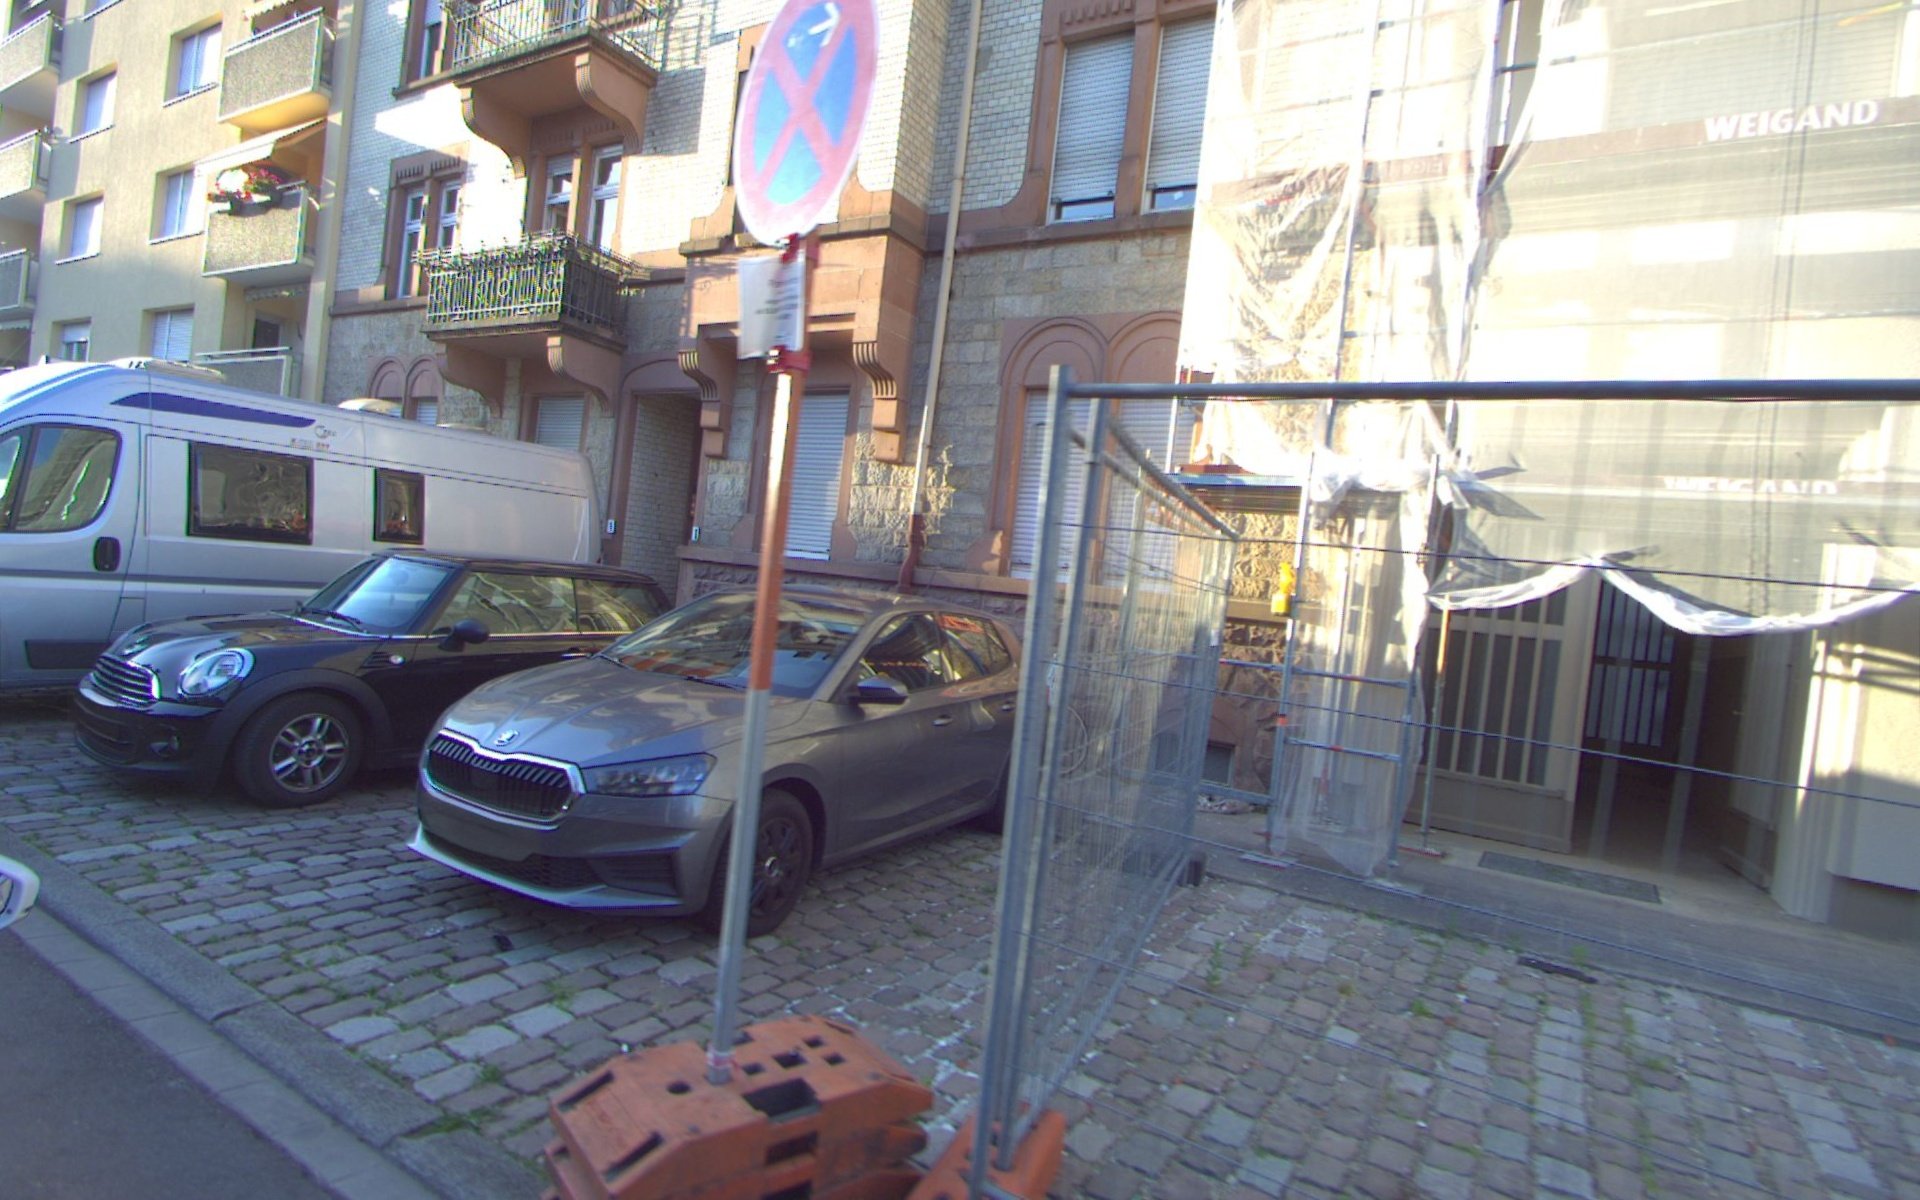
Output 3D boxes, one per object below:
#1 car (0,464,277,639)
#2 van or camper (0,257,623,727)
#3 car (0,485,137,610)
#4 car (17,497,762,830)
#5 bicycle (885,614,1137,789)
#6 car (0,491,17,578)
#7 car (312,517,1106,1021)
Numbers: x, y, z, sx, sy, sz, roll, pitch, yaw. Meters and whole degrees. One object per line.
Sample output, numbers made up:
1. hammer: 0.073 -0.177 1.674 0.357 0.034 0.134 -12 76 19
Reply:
1. car: -10.346 -0.572 10.961 1.741 1.750 4.443 7 1 25
2. van or camper: -5.875 -0.587 7.930 2.074 2.802 5.940 7 -1 31
3. car: -12.633 -0.732 11.956 1.803 1.473 3.990 7 2 28
4. car: -3.394 0.310 6.734 1.758 1.505 3.934 5 1 33
5. bicycle: 0.429 0.848 8.829 1.999 1.182 0.632 7 0 26
6. car: -17.929 -1.274 15.786 1.690 1.444 4.239 7 1 31
7. car: -0.874 0.561 5.506 1.984 1.536 3.991 7 2 27
